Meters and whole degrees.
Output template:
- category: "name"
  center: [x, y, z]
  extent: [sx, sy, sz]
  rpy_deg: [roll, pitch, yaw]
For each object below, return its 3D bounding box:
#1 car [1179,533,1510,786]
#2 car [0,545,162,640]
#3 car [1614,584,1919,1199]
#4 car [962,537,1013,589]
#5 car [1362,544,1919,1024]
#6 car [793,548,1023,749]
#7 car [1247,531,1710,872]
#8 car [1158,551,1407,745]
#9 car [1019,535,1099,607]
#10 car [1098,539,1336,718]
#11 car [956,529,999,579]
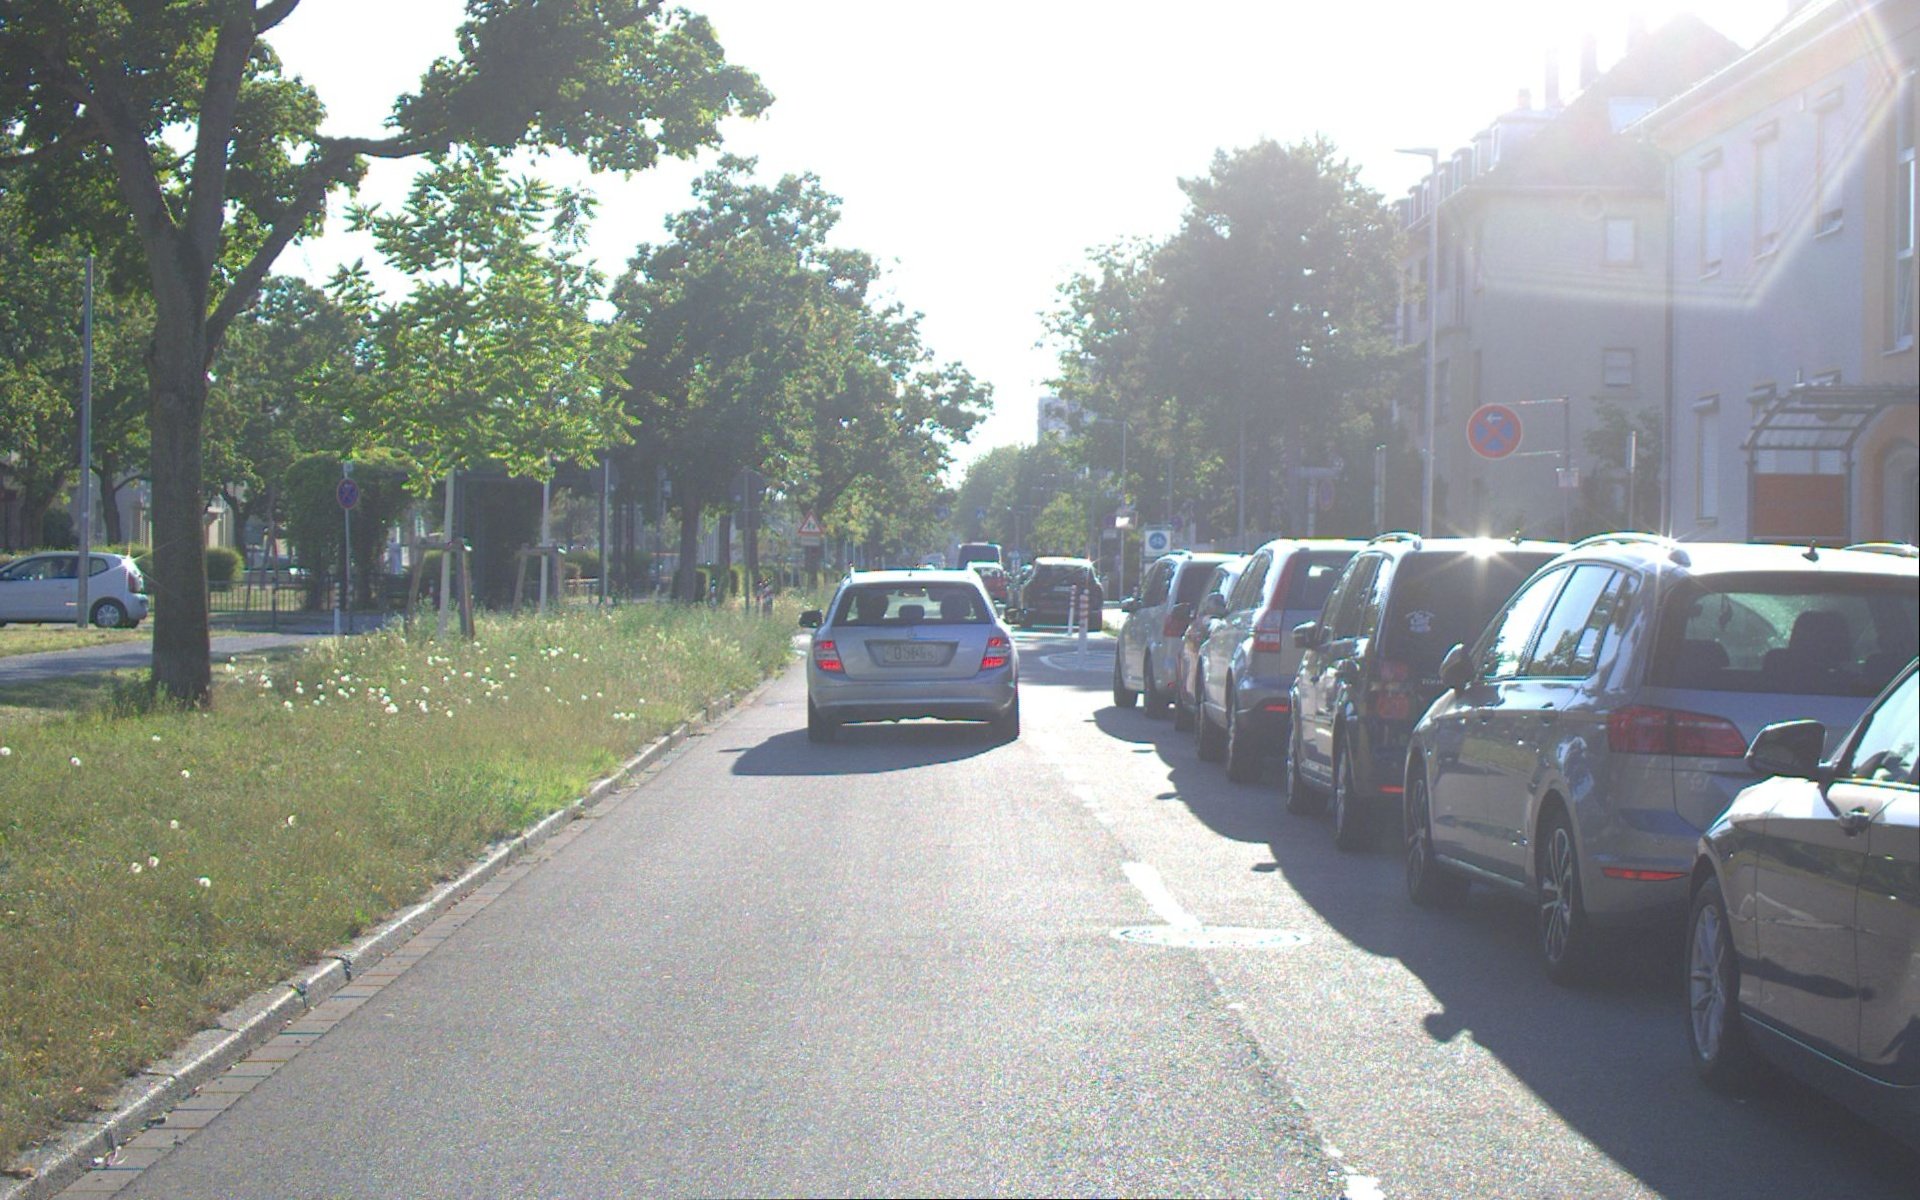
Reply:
- category: "car"
  center: [2.655, 0.367, 24.761]
  extent: [1.777, 1.637, 4.757]
  rpy_deg: [0, 0, -1]
- category: "car"
  center: [-16.909, -0.108, 63.484]
  extent: [3.893, 1.591, 2.000]
  rpy_deg: [-3, 0, -4]
- category: "car"
  center: [3.010, 0.752, 8.344]
  extent: [1.993, 1.457, 4.561]
  rpy_deg: [2, 1, 1]
- category: "car"
  center: [1.092, -1.495, 137.065]
  extent: [1.988, 2.016, 4.000]
  rpy_deg: [1, 1, 0]
- category: "car"
  center: [2.836, 0.578, 13.518]
  extent: [1.724, 1.556, 4.417]
  rpy_deg: [1, 1, -3]
- category: "car"
  center: [-0.408, 0.359, 29.447]
  extent: [1.823, 1.561, 4.000]
  rpy_deg: [-1, 1, 0]
- category: "car"
  center: [2.757, 0.493, 19.325]
  extent: [1.766, 1.629, 4.765]
  rpy_deg: [2, 0, -1]
- category: "car"
  center: [2.718, 0.361, 29.700]
  extent: [1.729, 1.521, 3.735]
  rpy_deg: [-1, 1, -1]
- category: "car"
  center: [2.247, -0.644, 78.752]
  extent: [1.721, 1.591, 4.000]
  rpy_deg: [0, 0, 0]
- category: "car"
  center: [2.537, 0.239, 34.956]
  extent: [1.716, 1.633, 4.565]
  rpy_deg: [2, 1, -4]
- category: "car"
  center: [0.781, -2.058, 155.118]
  extent: [1.861, 2.185, 5.070]
  rpy_deg: [1, 1, 0]
